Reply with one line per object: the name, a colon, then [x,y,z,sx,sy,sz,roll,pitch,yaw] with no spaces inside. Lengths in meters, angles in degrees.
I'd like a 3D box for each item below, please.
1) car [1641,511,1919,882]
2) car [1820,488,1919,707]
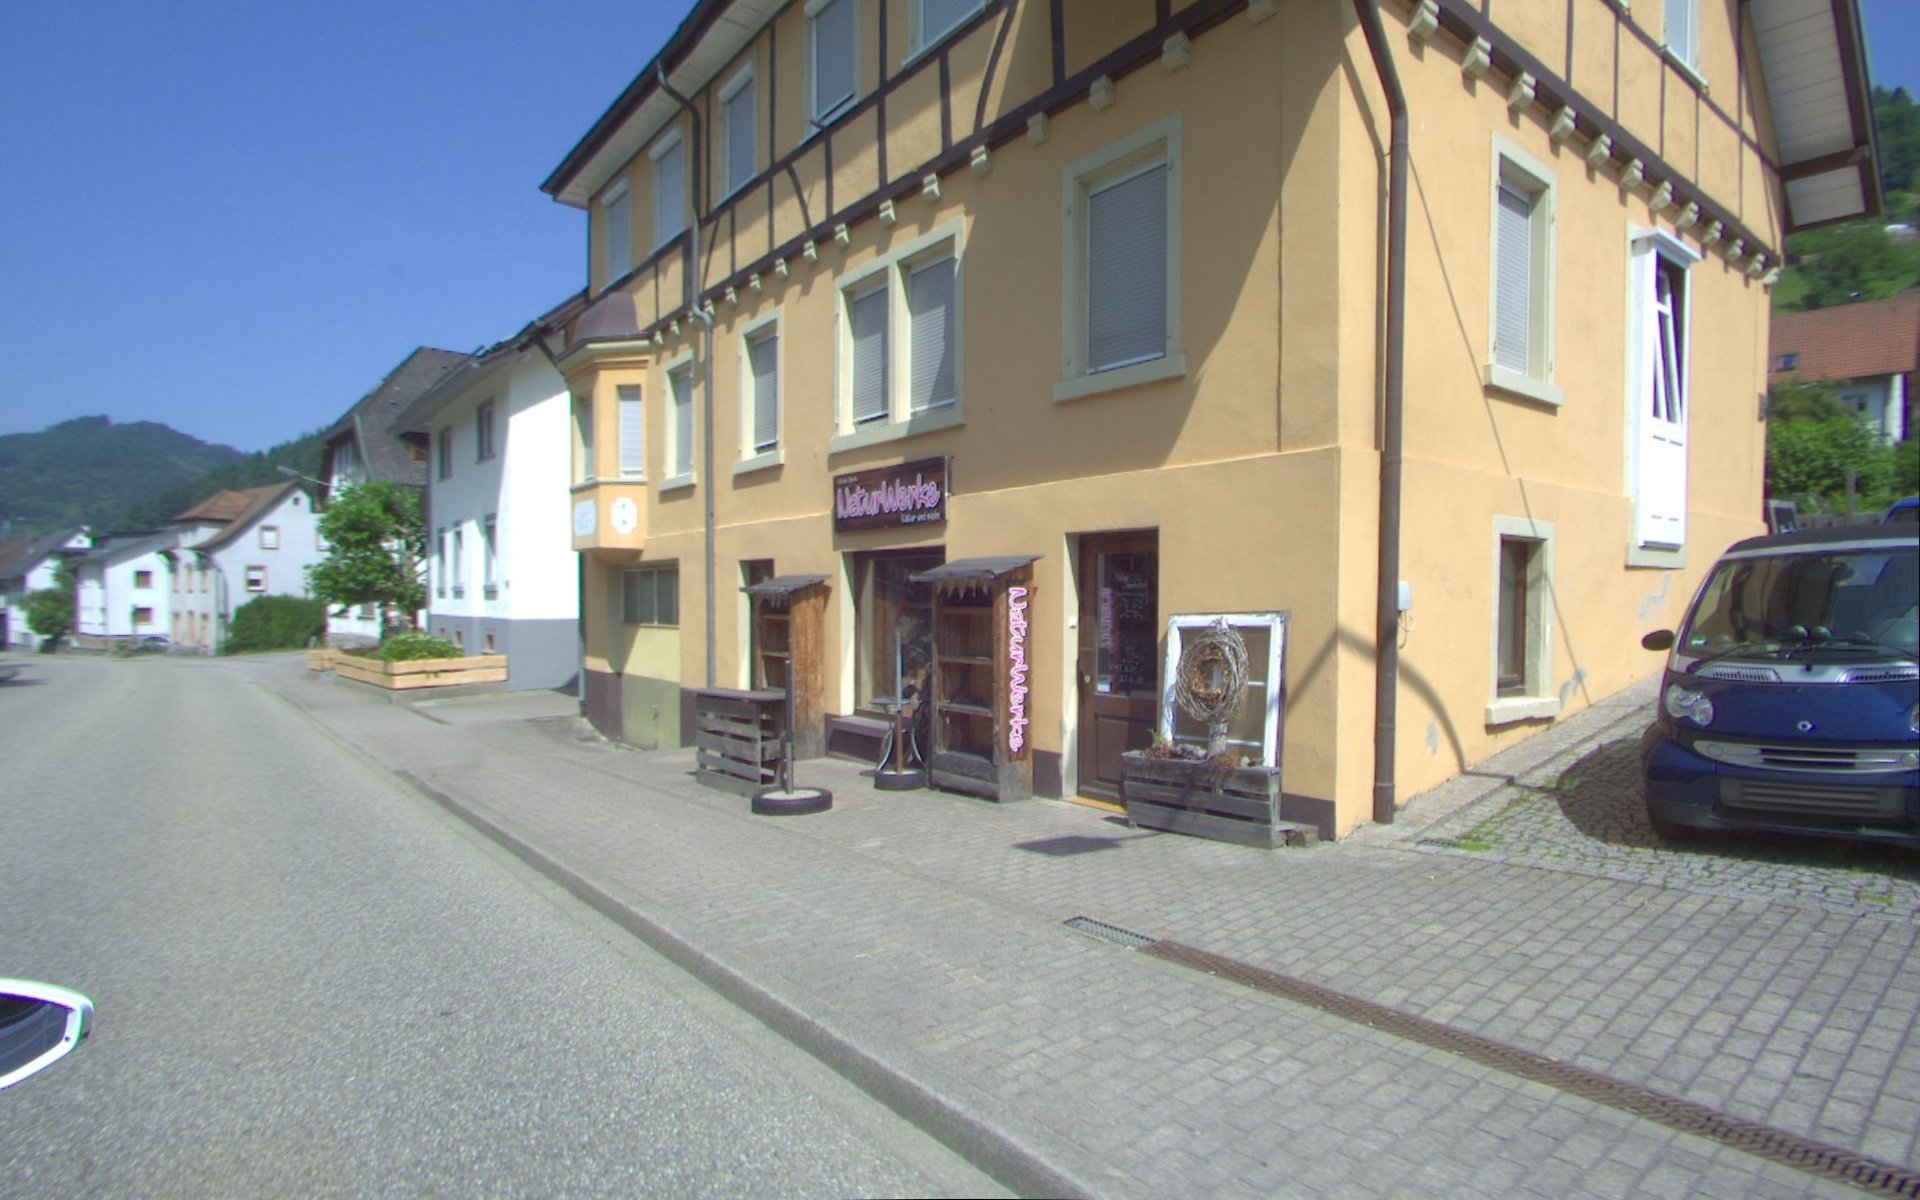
car: [4.990,0.360,5.512,2.632,1.557,1.413,-8,3,-42]
car: [8.810,-0.153,8.626,3.892,1.648,1.719,-6,3,-43]
